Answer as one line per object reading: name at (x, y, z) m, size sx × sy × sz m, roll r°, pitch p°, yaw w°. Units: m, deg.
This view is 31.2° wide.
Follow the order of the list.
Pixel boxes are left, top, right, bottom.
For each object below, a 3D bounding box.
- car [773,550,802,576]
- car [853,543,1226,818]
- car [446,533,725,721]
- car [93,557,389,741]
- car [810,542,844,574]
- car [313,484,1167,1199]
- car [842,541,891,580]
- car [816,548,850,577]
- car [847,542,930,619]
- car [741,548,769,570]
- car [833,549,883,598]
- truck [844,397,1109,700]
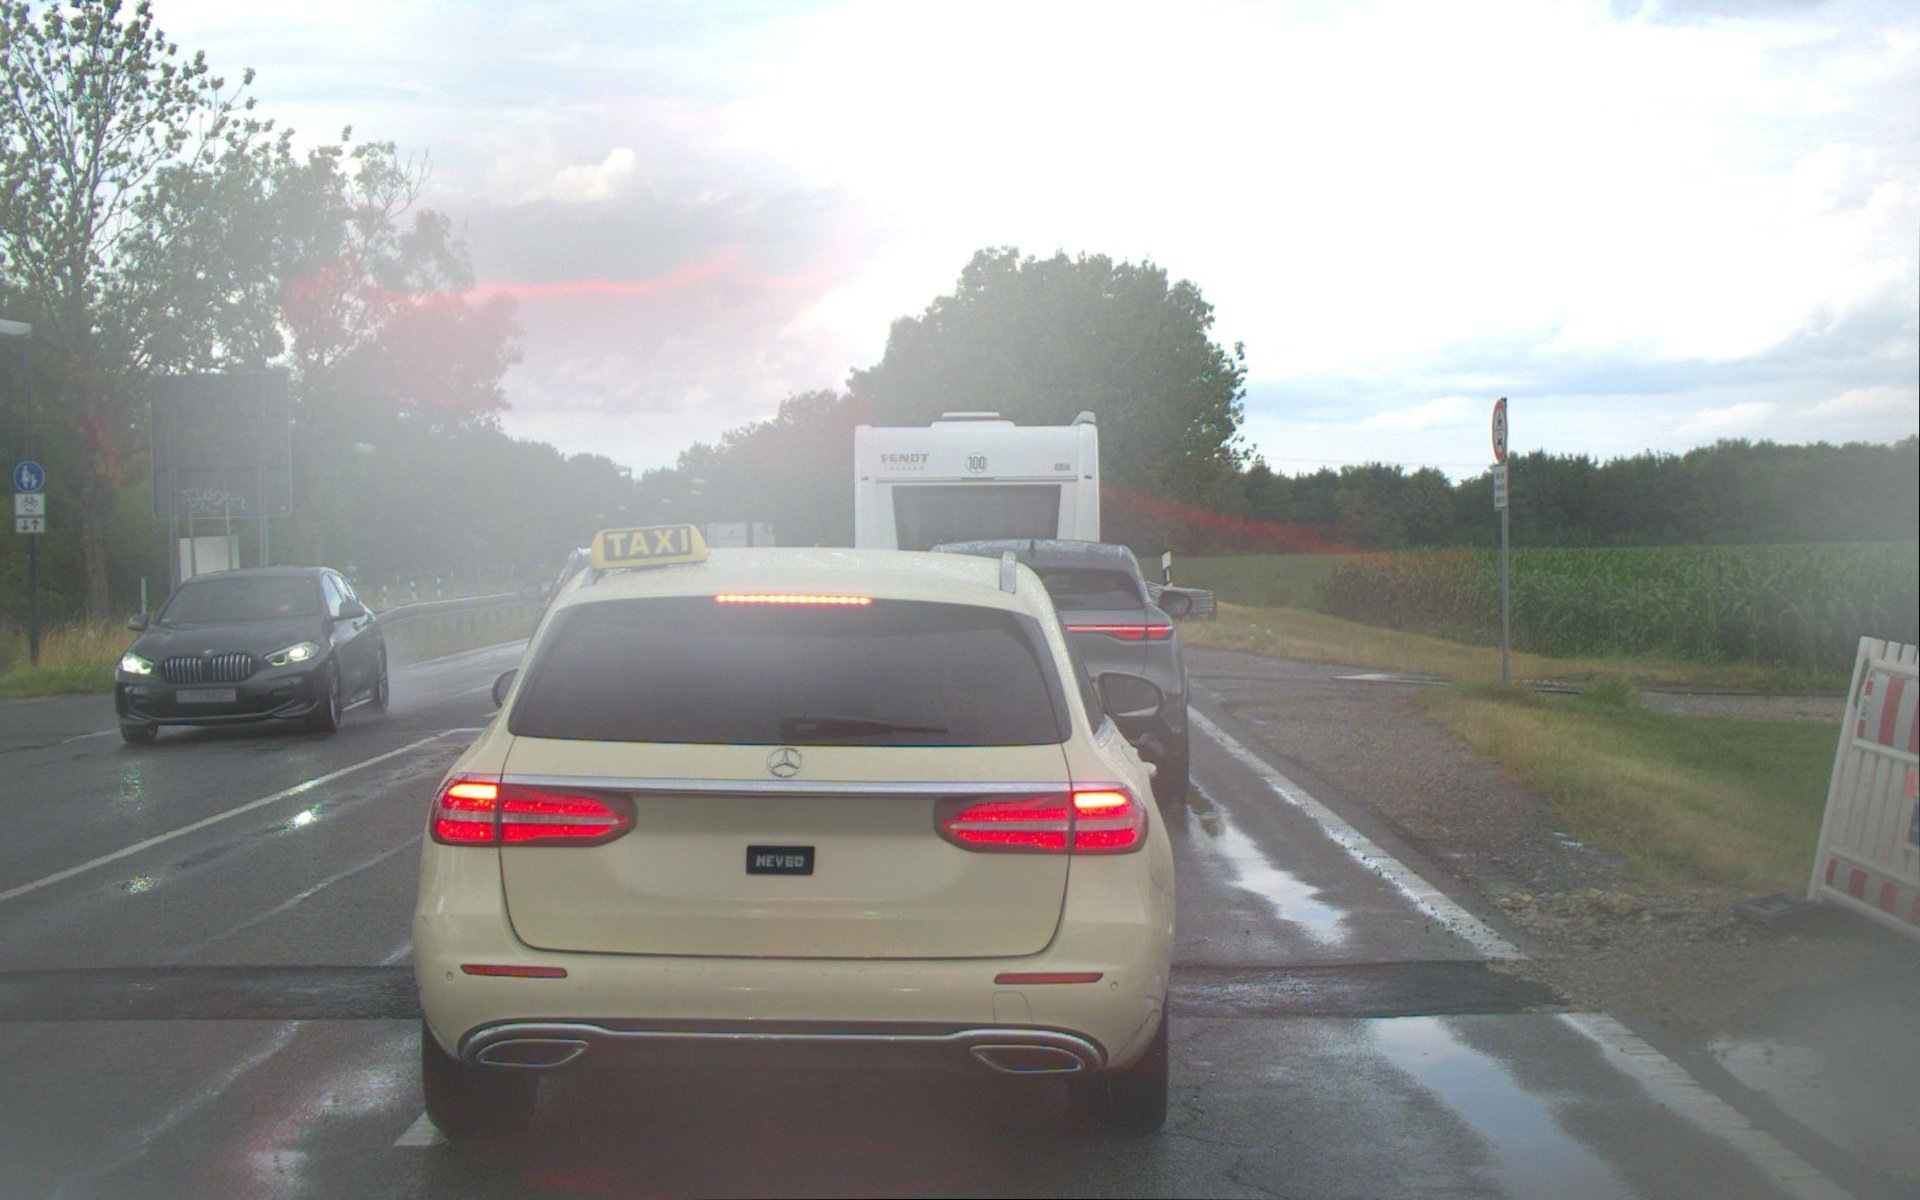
car at (-12.348, -2.659, 245.926) m, size 1.895 × 1.833 × 3.882 m, roll -1°, pitch 1°, yaw -1°
car at (0.407, 0.409, 20.566) m, size 1.993 × 1.457 × 4.000 m, roll 1°, pitch 1°, yaw -1°
car at (-3.404, 0.198, 31.003) m, size 2.301 × 1.542 × 4.633 m, roll 1°, pitch 1°, yaw -7°
car at (-6.201, 0.373, 30.054) m, size 1.719 × 1.399 × 4.044 m, roll -3°, pitch 1°, yaw -1°
car at (-8.156, -2.589, 210.600) m, size 1.895 × 1.888 × 3.844 m, roll -1°, pitch 1°, yaw -4°
car at (-0.500, 0.530, 9.448) m, size 1.842 × 1.612 × 4.000 m, roll 0°, pitch 1°, yaw -1°
car at (-4.310, -1.821, 157.702) m, size 1.993 × 1.766 × 4.001 m, roll -1°, pitch 1°, yaw -4°
car at (-7.318, -2.168, 198.072) m, size 1.748 × 1.656 × 3.673 m, roll -1°, pitch 1°, yaw -4°
car at (-1.749, -0.502, 85.558) m, size 1.915 × 1.834 × 3.796 m, roll -1°, pitch 1°, yaw 0°
car at (-14.930, -3.010, 250.809) m, size 1.828 × 1.568 × 4.000 m, roll 1°, pitch 1°, yaw 0°
car at (-3.850, -1.007, 129.780) m, size 1.791 × 1.771 × 3.721 m, roll -1°, pitch 1°, yaw -1°
truck at (0.115, -0.534, 35.066) m, size 2.363 × 2.719 × 7.315 m, roll -1°, pitch 1°, yaw -1°
